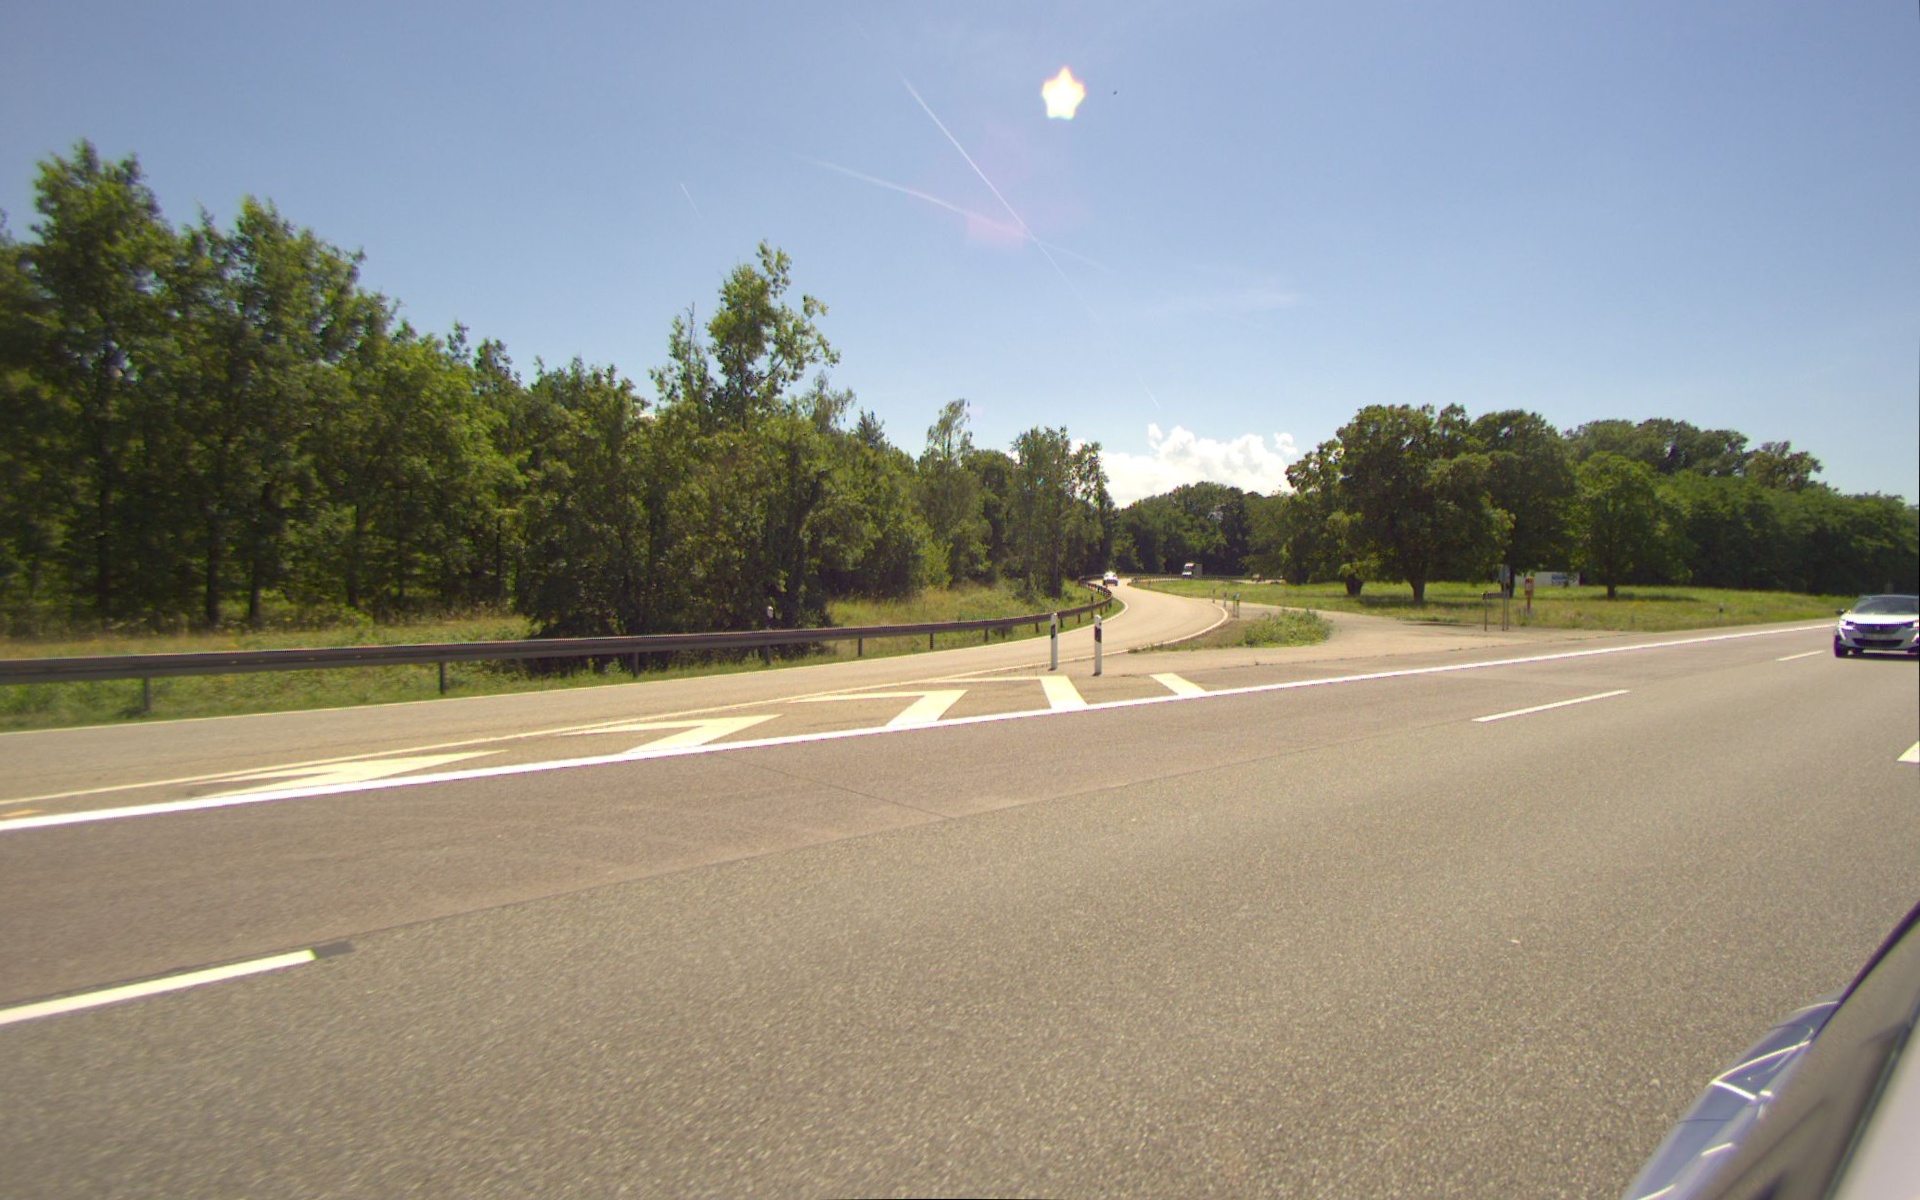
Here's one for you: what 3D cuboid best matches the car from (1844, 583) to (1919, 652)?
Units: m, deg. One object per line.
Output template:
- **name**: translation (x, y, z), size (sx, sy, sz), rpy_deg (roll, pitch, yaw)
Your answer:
- **car**: translation (23.589, 0.383, 25.209), size (3.930, 1.594, 1.844), rpy_deg (-1, 1, -41)
